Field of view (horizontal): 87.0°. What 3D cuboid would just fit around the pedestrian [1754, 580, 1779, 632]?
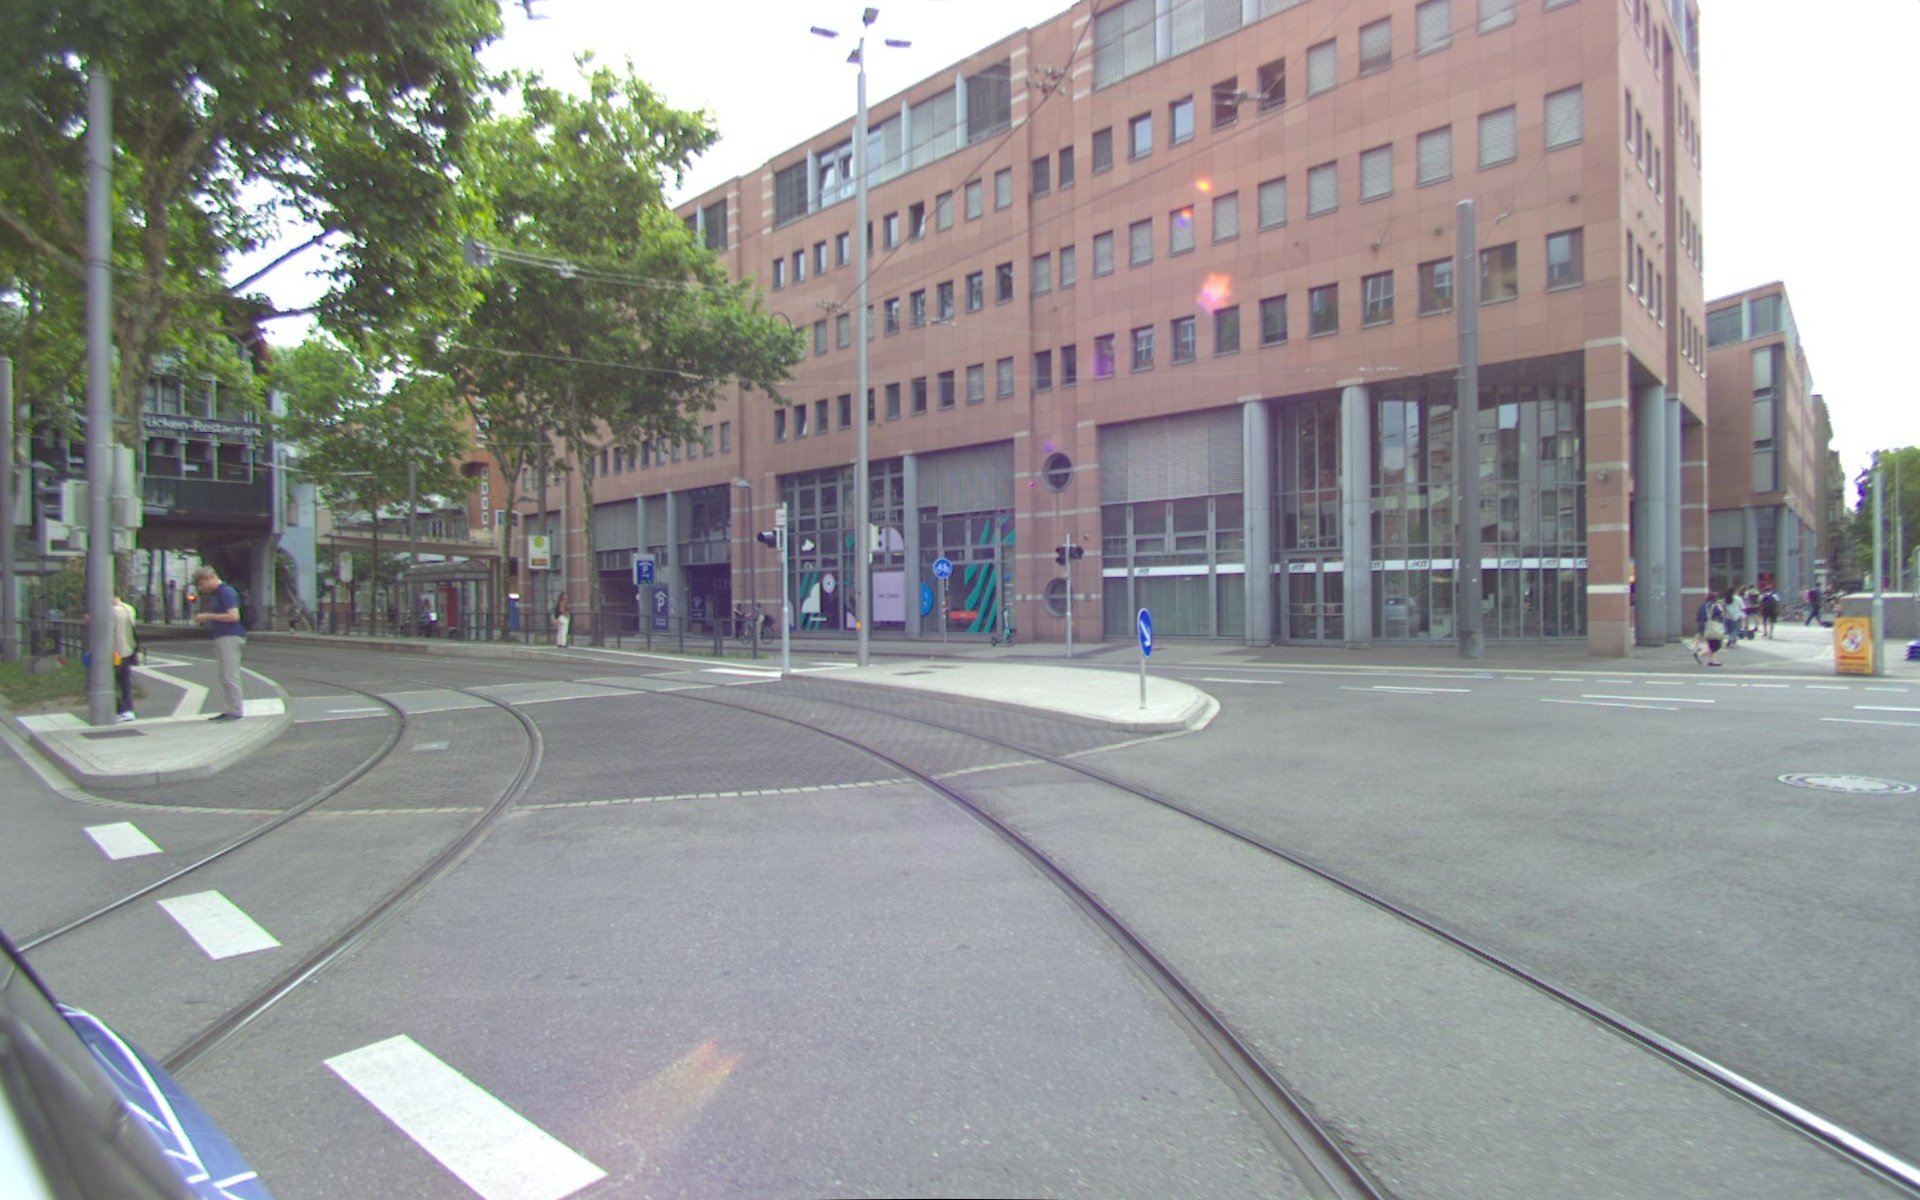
[{"bbox_3d":[26.125,0.189,32.770,0.581,1.676,0.513,0,0,44],"label":"pedestrian"}]

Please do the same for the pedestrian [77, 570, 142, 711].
[{"bbox_3d":[-11.198,0.517,13.340,0.526,1.804,0.579,0,0,-27],"label":"pedestrian"}]

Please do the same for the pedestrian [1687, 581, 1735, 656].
[{"bbox_3d":[15.251,0.368,20.546,0.685,1.484,0.788,0,0,43],"label":"pedestrian"}]

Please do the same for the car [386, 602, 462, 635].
[{"bbox_3d":[-25.686,0.866,48.456,4.295,1.484,1.843,-1,0,42],"label":"car"}]

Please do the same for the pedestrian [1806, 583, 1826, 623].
[{"bbox_3d":[35.569,0.116,42.048,0.581,1.676,0.513,0,0,44],"label":"pedestrian"}]

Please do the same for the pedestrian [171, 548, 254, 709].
[{"bbox_3d":[-9.154,0.335,12.385,0.807,1.889,0.684,0,0,44],"label":"pedestrian"}]

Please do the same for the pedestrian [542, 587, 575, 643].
[{"bbox_3d":[-11.187,0.406,28.200,0.558,1.549,0.650,2,2,39],"label":"pedestrian"}]

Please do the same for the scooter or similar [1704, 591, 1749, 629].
[{"bbox_3d":[24.651,0.307,32.582,0.377,1.178,1.295,0,0,-5],"label":"scooter or similar"}]

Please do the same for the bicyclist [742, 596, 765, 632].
[{"bbox_3d":[-8.107,0.553,39.706,0.735,1.391,0.546,0,0,31],"label":"bicyclist"}]

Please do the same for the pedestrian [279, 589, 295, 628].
[{"bbox_3d":[-30.543,0.379,45.933,0.480,1.784,0.476,0,0,36],"label":"pedestrian"}]

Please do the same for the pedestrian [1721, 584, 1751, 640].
[{"bbox_3d":[20.997,0.314,27.370,0.581,1.484,0.646,0,0,43],"label":"pedestrian"}]

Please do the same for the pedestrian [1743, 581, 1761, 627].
[{"bbox_3d":[29.213,0.150,37.337,0.464,1.676,0.513,0,0,43],"label":"pedestrian"}]

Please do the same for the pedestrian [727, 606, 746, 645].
[{"bbox_3d":[-9.292,1.048,42.080,0.601,1.585,0.522,0,0,43],"label":"pedestrian"}]

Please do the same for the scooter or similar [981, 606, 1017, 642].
[{"bbox_3d":[1.248,0.773,32.779,1.112,1.141,0.513,0,0,44],"label":"scooter or similar"}]

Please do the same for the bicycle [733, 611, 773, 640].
[{"bbox_3d":[-8.140,0.991,39.726,1.584,1.126,0.542,0,0,31],"label":"bicycle"}]
